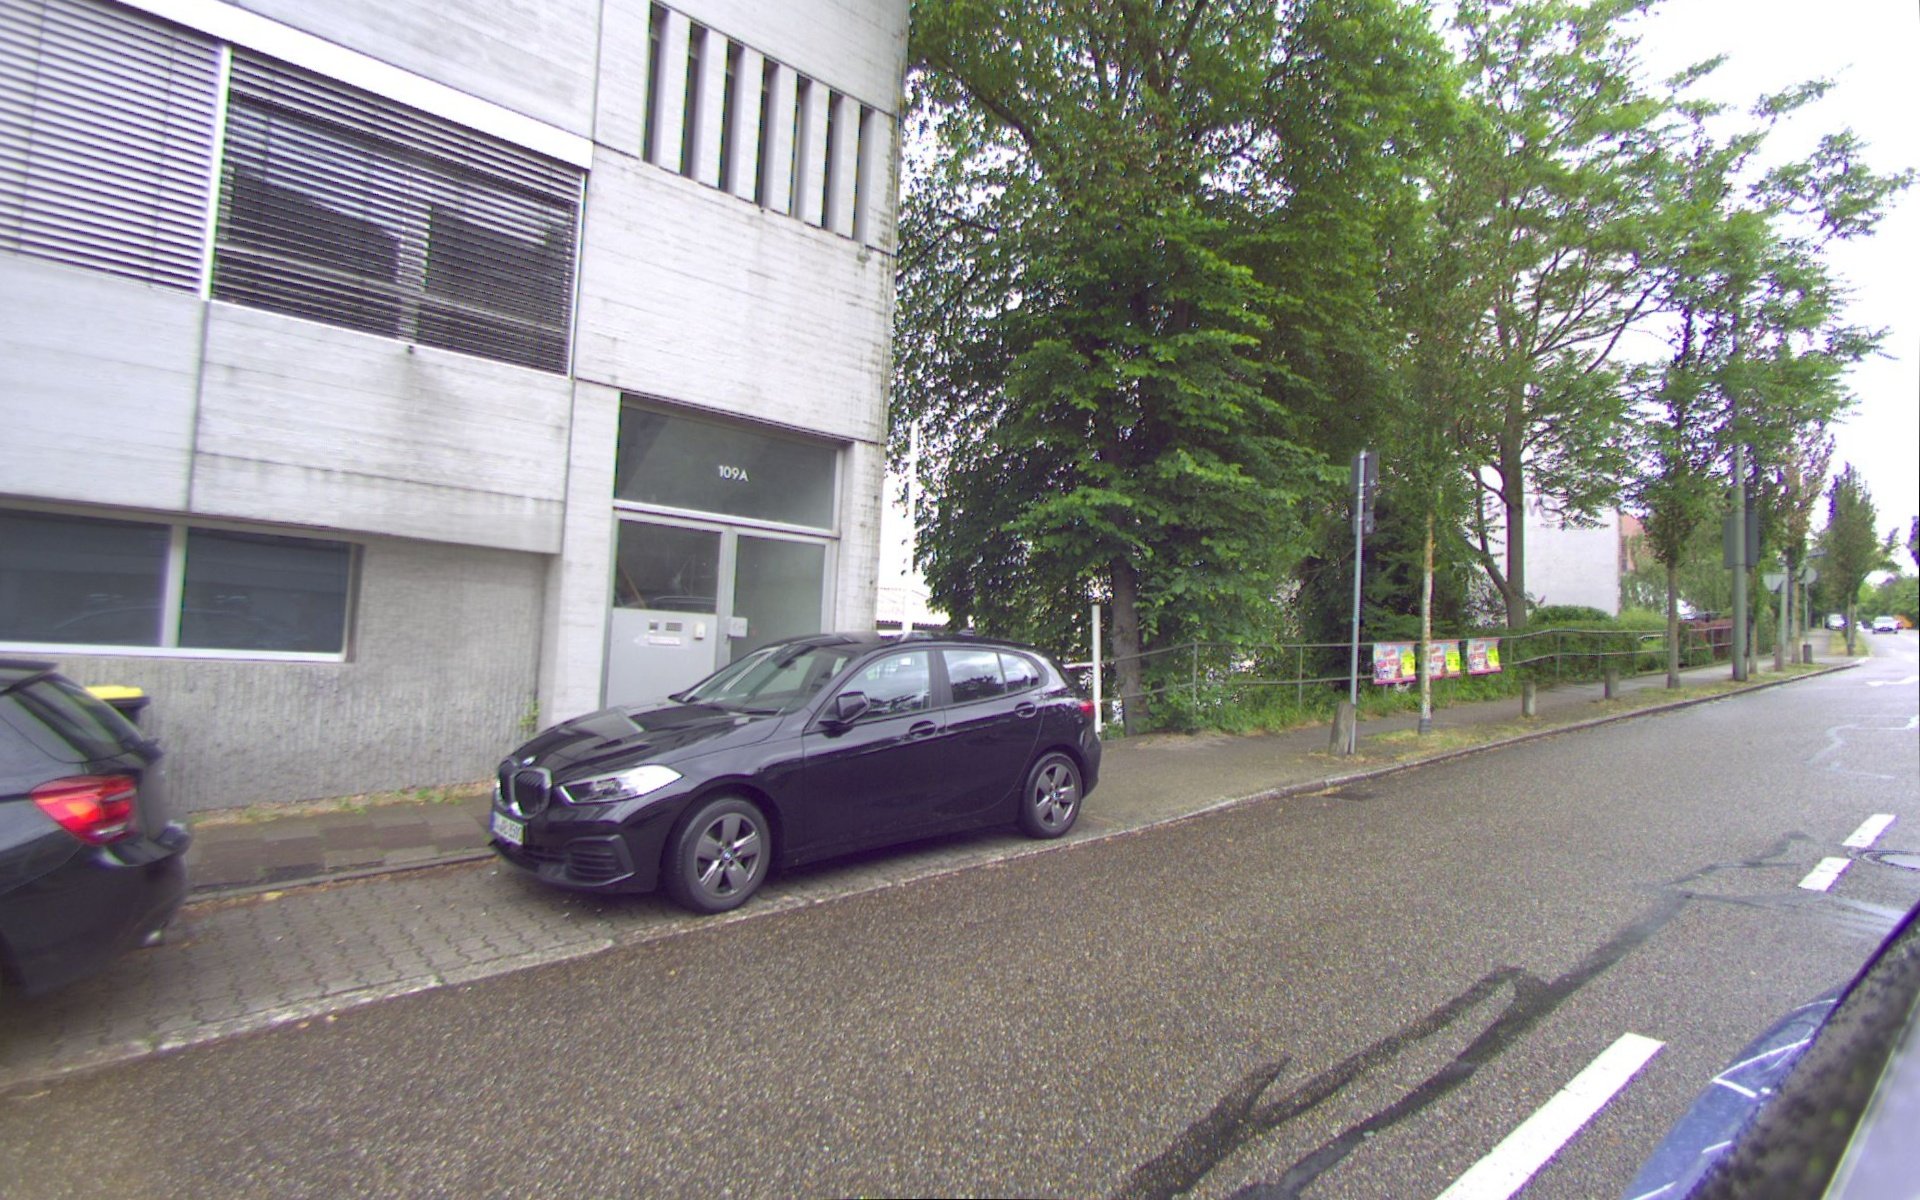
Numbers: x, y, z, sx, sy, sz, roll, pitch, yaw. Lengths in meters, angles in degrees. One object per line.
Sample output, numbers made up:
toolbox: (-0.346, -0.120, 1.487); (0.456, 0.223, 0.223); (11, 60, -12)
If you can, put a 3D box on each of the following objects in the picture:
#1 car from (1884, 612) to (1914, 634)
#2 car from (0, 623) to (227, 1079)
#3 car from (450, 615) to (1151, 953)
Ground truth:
car: (84.028, 2.050, 90.578); (1.887, 1.741, 4.170); (2, 2, 44)
car: (-4.902, 0.854, 3.164); (4.173, 1.466, 1.753); (0, 0, -38)
car: (-0.838, 0.886, 6.925); (4.367, 1.453, 1.996); (0, 2, -43)
